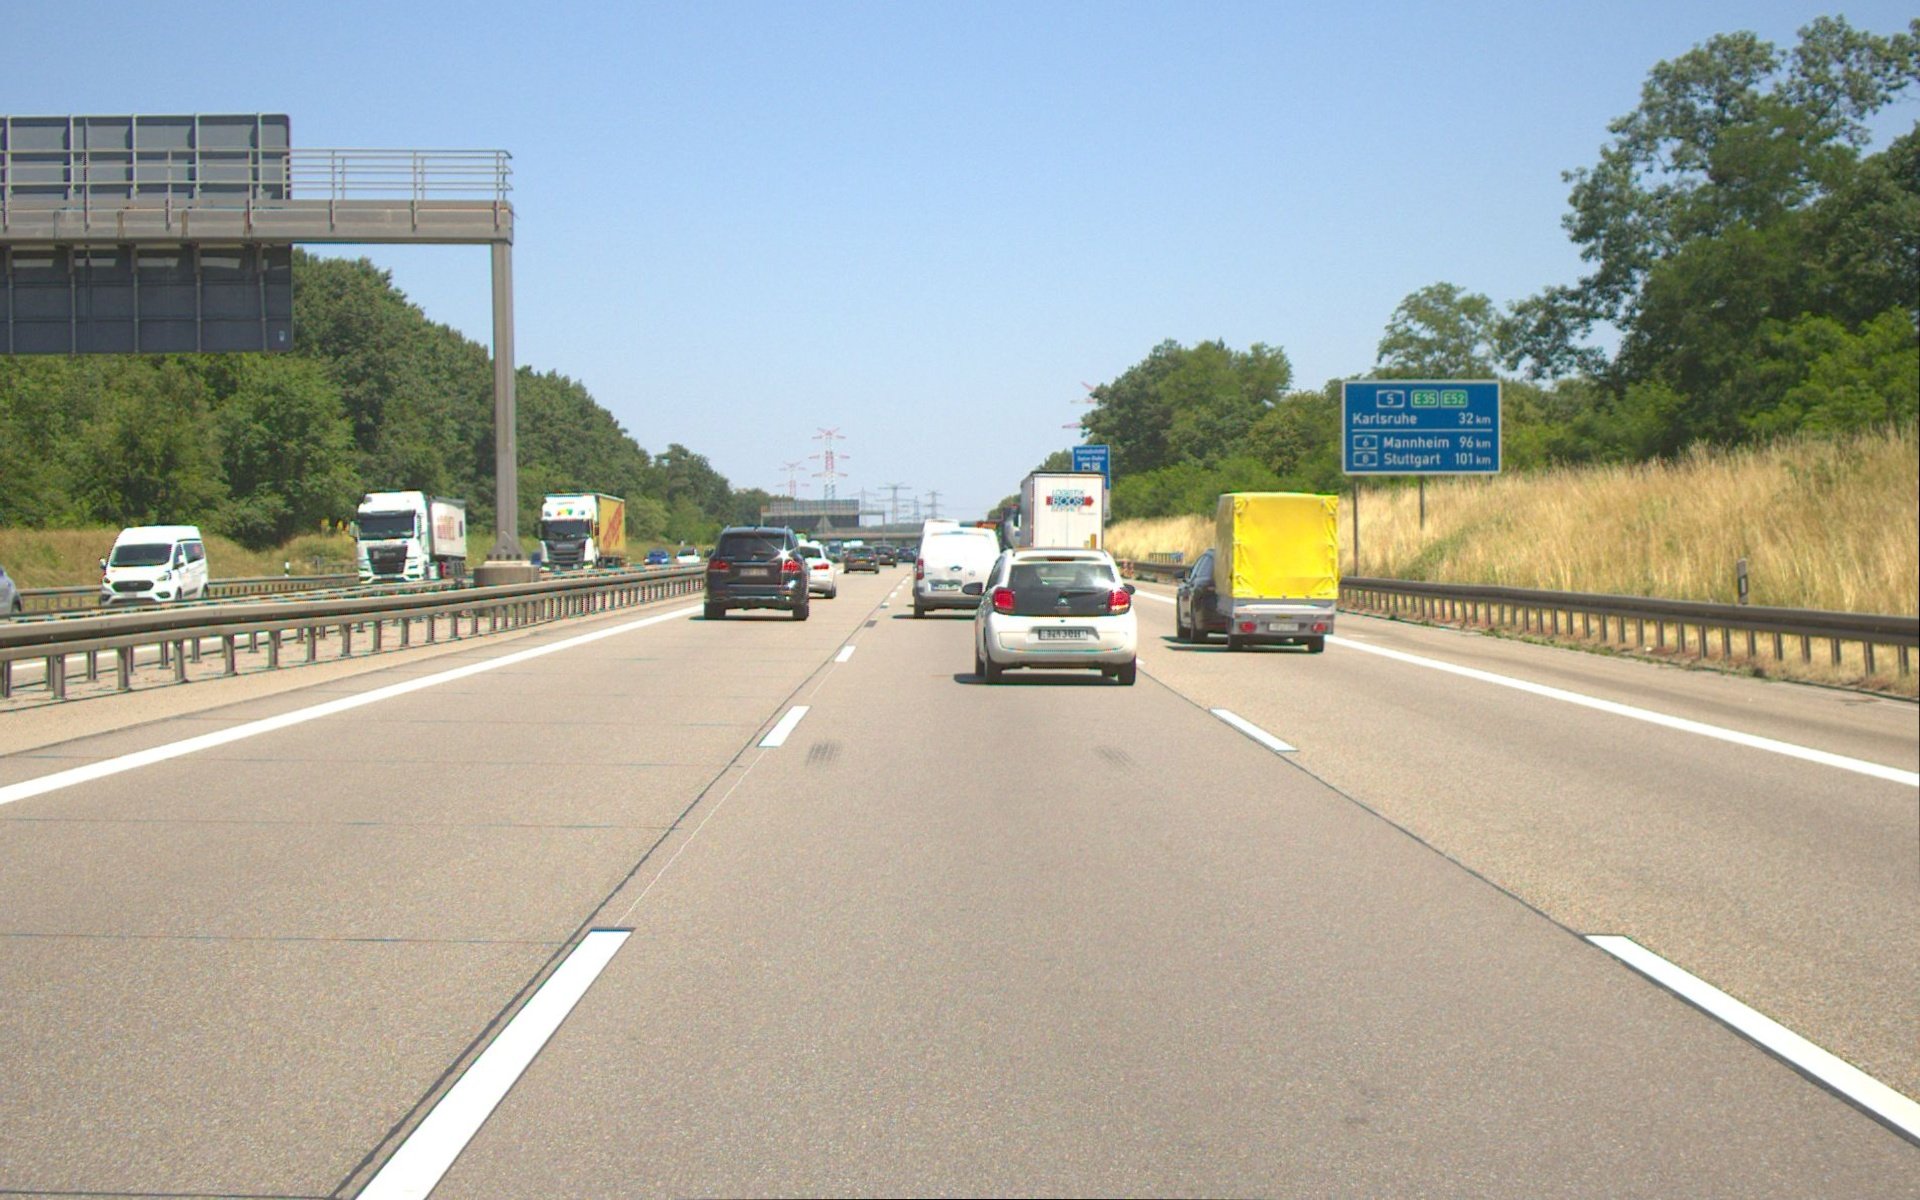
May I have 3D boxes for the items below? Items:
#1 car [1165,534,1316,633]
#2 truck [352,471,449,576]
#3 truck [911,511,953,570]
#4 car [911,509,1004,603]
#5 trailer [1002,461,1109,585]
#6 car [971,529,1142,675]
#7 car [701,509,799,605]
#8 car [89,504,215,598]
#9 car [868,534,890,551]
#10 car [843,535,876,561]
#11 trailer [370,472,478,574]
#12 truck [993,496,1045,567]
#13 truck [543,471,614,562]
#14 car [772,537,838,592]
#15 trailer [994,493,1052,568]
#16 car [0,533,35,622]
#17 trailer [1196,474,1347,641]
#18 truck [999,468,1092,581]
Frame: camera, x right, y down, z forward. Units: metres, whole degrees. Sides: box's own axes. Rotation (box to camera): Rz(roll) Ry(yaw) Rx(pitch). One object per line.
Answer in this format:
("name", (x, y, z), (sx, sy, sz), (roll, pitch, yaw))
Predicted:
("car", (4.340, -0.285, 53.803), (1.821, 1.451, 4.789), (1, 1, -1))
("truck", (-22.008, -3.028, 135.594), (2.625, 3.935, 6.483), (-3, 1, 0))
("truck", (-1.401, -2.973, 172.452), (2.060, 2.904, 7.004), (0, 1, -1))
("car", (-0.085, -0.894, 69.588), (1.814, 1.821, 5.111), (0, 1, -1))
("trailer", (3.394, -2.755, 125.920), (3.286, 4.205, 13.566), (1, 1, -1))
("car", (1.008, -0.018, 37.625), (1.708, 1.490, 4.024), (1, 1, 0))
("car", (-3.963, -0.827, 65.290), (1.626, 1.749, 3.805), (1, 1, 0))
("car", (-21.438, -1.330, 91.419), (1.987, 2.332, 5.811), (-3, 1, -1))
("car", (-5.317, -3.781, 226.507), (1.405, 1.128, 3.358), (1, 1, 0))
("car", (-5.189, -2.701, 177.353), (1.607, 1.296, 3.674), (1, 1, 0))
("trailer", (-22.055, -3.176, 142.037), (2.625, 3.935, 11.159), (-3, 1, 0))
("truck", (3.256, -3.779, 191.203), (2.682, 3.824, 4.444), (1, 1, -1))
("truck", (-17.664, -3.865, 159.434), (2.464, 4.058, 6.287), (-3, 1, 0))
("car", (-4.079, -0.950, 90.834), (1.669, 1.396, 3.713), (0, 1, -2))
("trailer", (3.338, -3.711, 185.330), (2.682, 3.824, 12.011), (1, 1, -1))
("car", (-16.920, -0.337, 57.563), (1.646, 1.494, 4.561), (-3, 1, -1))
("trailer", (4.444, -0.618, 49.482), (1.703, 2.282, 3.840), (1, 1, -1))
("truck", (3.259, -2.889, 132.920), (3.286, 4.205, 6.008), (1, 1, -1))
